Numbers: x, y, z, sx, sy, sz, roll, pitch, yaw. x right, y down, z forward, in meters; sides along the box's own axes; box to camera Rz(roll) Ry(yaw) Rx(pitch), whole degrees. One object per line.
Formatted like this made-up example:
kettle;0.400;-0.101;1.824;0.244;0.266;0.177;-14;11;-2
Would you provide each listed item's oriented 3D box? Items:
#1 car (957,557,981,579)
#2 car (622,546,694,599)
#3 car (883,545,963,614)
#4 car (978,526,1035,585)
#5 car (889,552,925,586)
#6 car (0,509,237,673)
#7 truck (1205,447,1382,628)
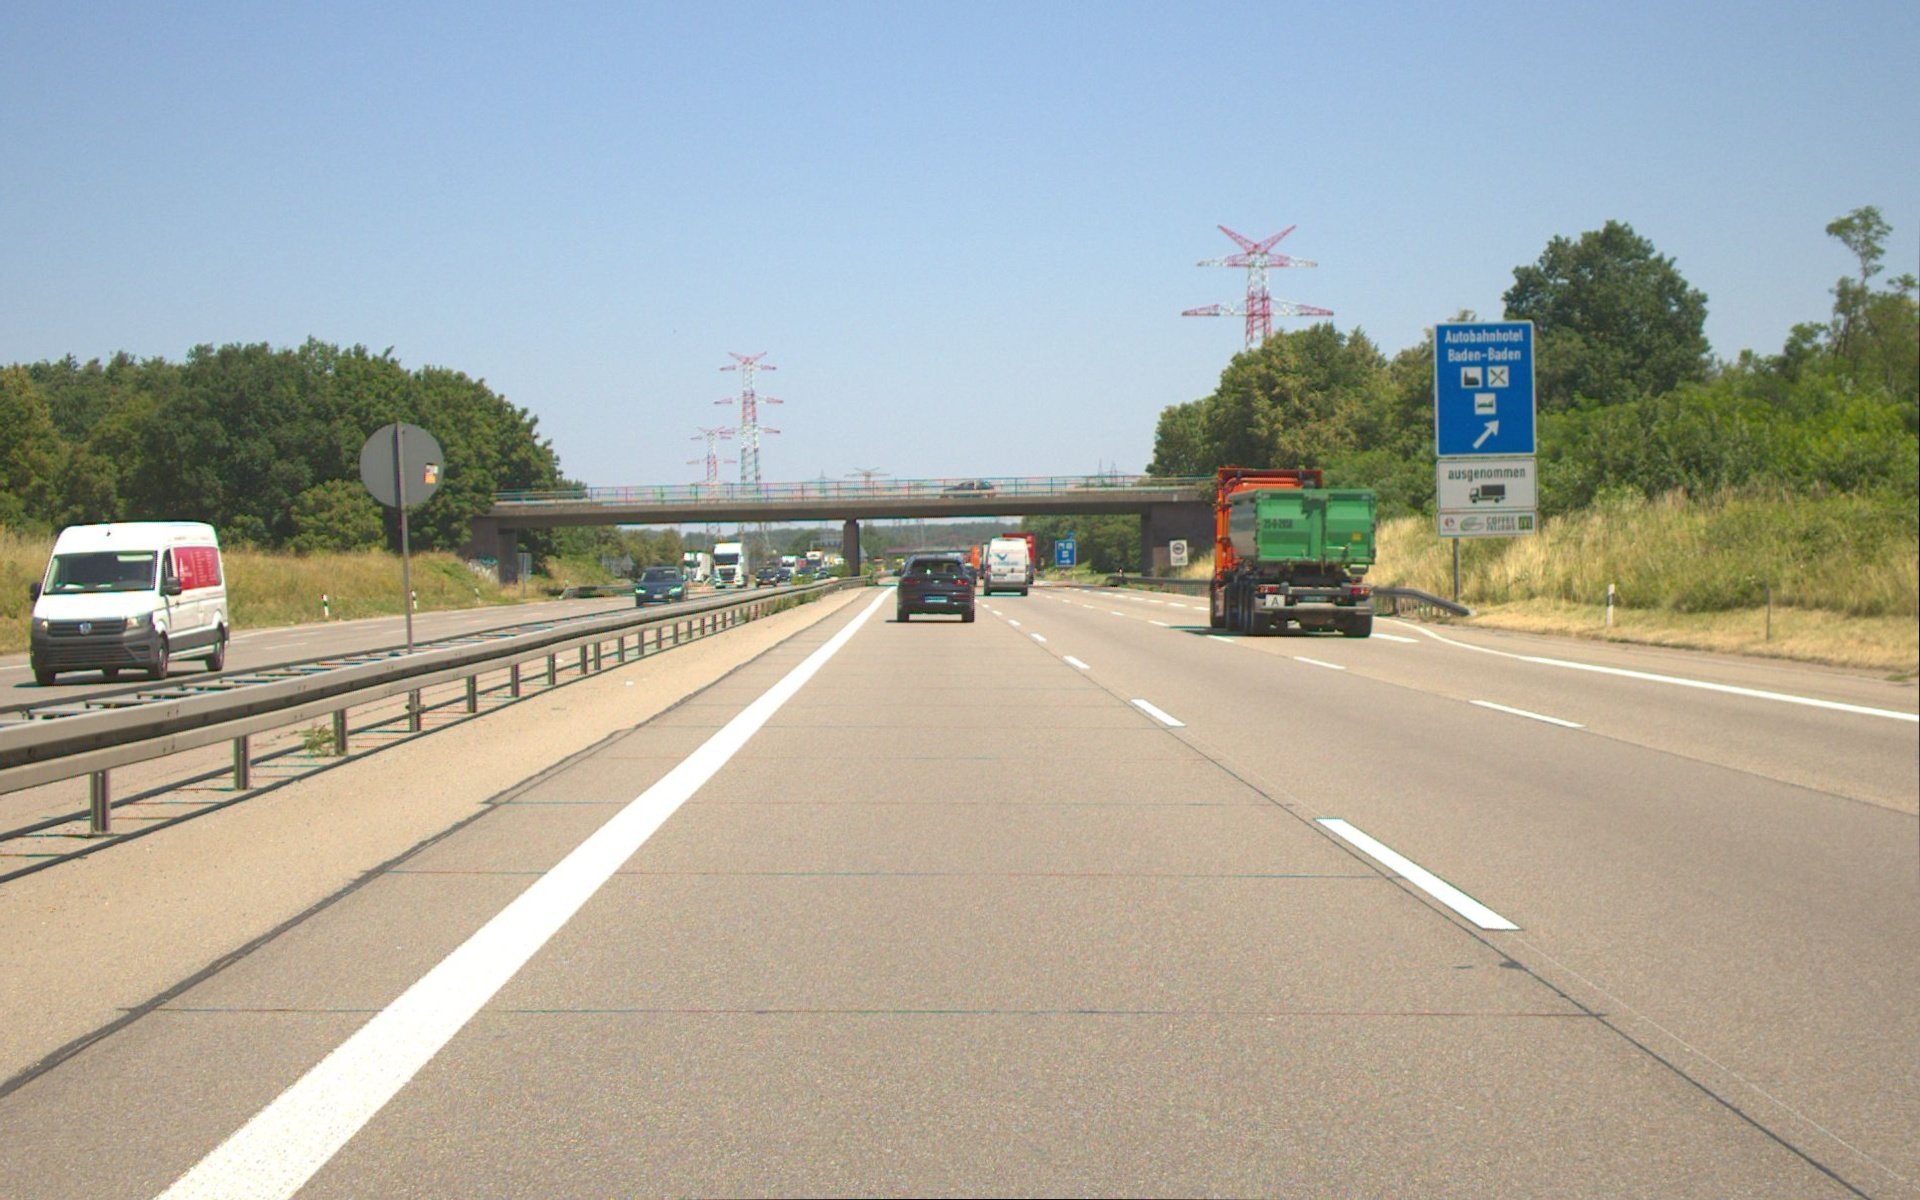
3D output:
car;0.670;-2.416;256.967;1.747;1.628;4.004;1;1;0
car;-11.706;-1.084;133.610;2.364;1.888;5.225;-3;1;-1
car;-0.971;-0.547;89.203;1.993;1.744;4.000;1;1;-1
car;2.229;-2.167;167.627;2.621;2.750;6.096;1;1;0
car;-2.737;-1.602;177.421;1.794;1.744;4.000;1;1;-1
car;-13.865;-0.188;56.697;2.364;2.440;7.134;-3;1;-1
truck;7.471;-1.397;78.624;2.681;3.785;12.479;1;1;0
